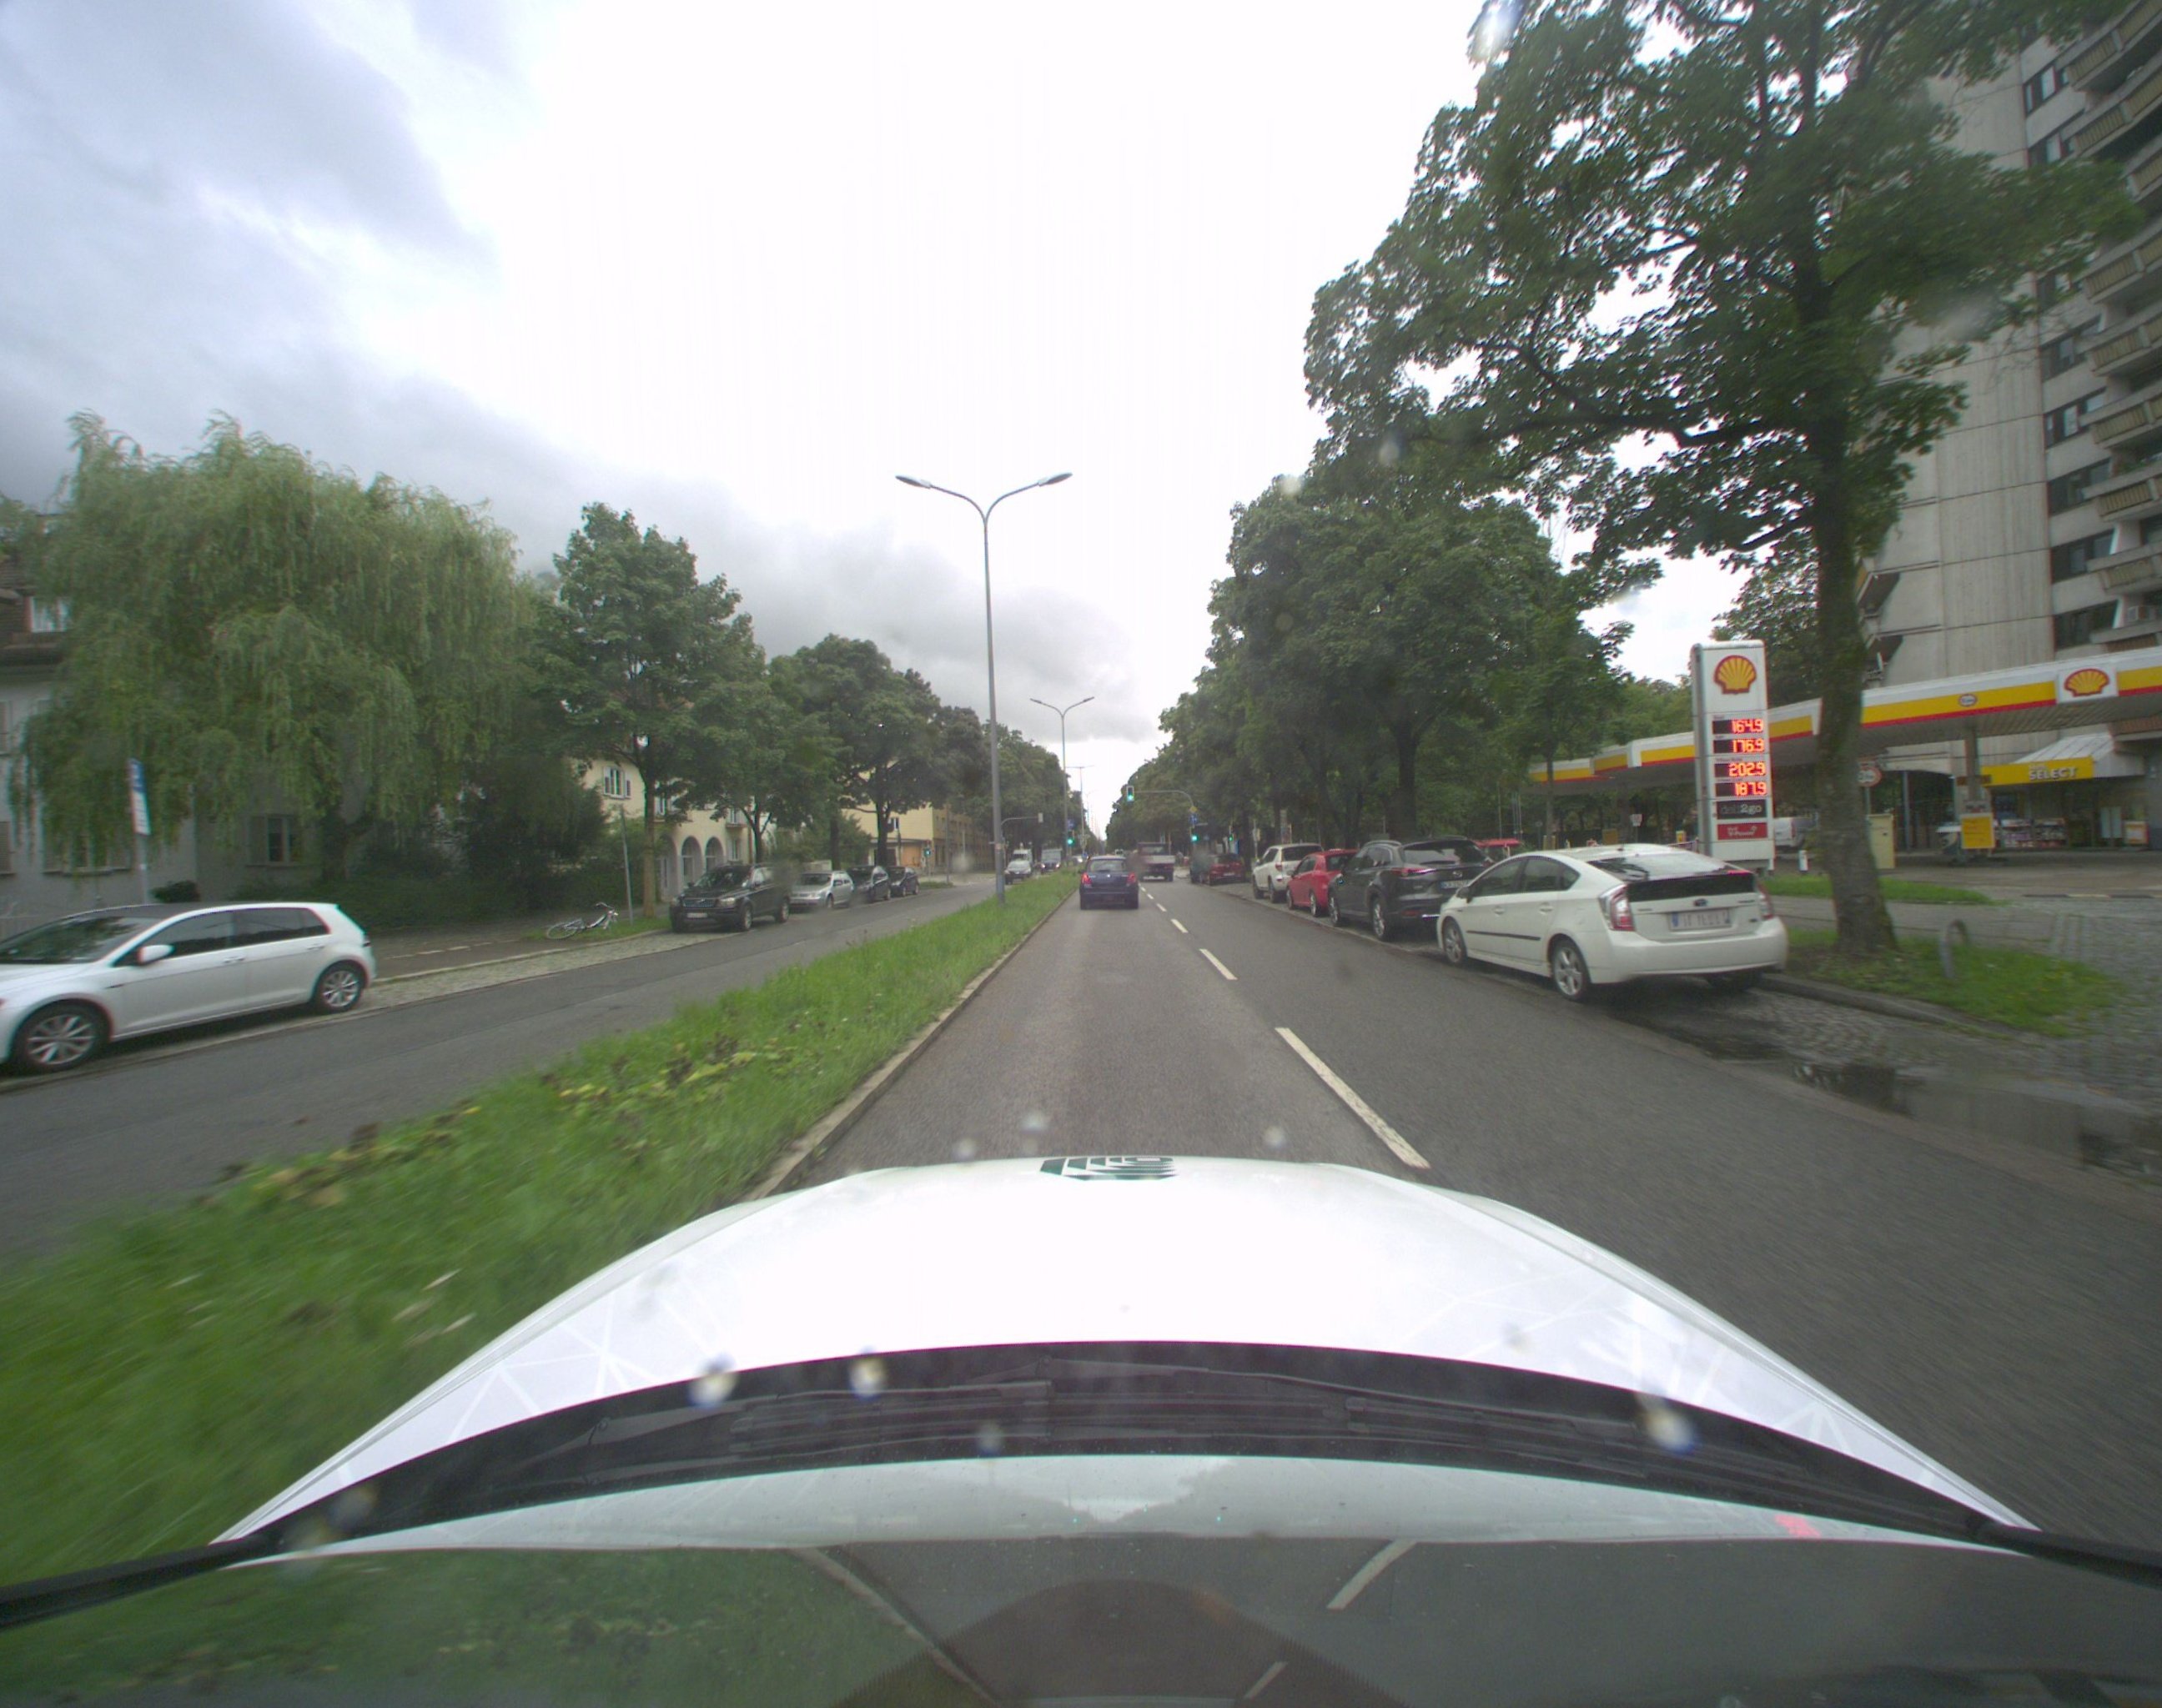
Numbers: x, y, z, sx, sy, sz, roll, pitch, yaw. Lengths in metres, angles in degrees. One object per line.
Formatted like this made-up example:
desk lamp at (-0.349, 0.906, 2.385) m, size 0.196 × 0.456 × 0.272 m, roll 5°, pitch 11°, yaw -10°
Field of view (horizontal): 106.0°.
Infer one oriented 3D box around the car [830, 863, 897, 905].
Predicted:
car at (-9.172, 1.230, 34.642) m, size 1.661 × 1.562 × 4.298 m, roll -2°, pitch 0°, yaw 0°

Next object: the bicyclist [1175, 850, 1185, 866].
bicyclist at (9.430, 0.358, 77.514) m, size 0.927 × 1.479 × 0.991 m, roll -1°, pitch 0°, yaw 3°

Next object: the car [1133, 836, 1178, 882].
car at (4.196, 0.255, 46.724) m, size 2.408 × 2.444 × 5.091 m, roll -1°, pitch 0°, yaw 3°

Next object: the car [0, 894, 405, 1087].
car at (-10.096, 1.281, 8.904) m, size 1.668 × 1.443 × 4.322 m, roll 0°, pitch 0°, yaw 2°

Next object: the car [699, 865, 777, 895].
car at (-19.206, 1.464, 45.726) m, size 3.622 × 1.462 × 1.671 m, roll -2°, pitch 0°, yaw -1°

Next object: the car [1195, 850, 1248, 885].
car at (6.705, 0.600, 39.164) m, size 1.706 × 1.424 × 4.283 m, roll -6°, pitch 0°, yaw 0°

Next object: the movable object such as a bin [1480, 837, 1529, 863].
movable object such as a bin at (26.099, -0.270, 50.287) m, size 2.053 × 1.486 × 1.838 m, roll -3°, pitch 0°, yaw 2°

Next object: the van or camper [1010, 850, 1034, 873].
van or camper at (-7.025, 0.879, 97.535) m, size 2.132 × 2.476 × 6.262 m, roll -3°, pitch 0°, yaw 2°

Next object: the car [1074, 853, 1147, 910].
car at (0.802, 0.757, 24.221) m, size 1.891 × 1.499 × 3.658 m, roll -3°, pitch 0°, yaw -1°

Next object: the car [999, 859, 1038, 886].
car at (-3.775, 1.078, 49.854) m, size 1.730 × 1.442 × 4.106 m, roll -3°, pitch 0°, yaw 3°

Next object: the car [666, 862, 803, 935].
car at (-9.498, 1.134, 22.826) m, size 1.791 × 1.763 × 5.054 m, roll 0°, pitch 0°, yaw -2°

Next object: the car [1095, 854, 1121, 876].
car at (2.014, 0.760, 59.926) m, size 1.792 × 1.499 × 3.662 m, roll -2°, pitch 0°, yaw 2°

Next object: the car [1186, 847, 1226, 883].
car at (6.685, 0.546, 43.942) m, size 1.754 × 1.658 × 4.290 m, roll -6°, pitch 0°, yaw 6°

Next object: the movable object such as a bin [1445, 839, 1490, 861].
movable object such as a bin at (23.879, -0.243, 50.333) m, size 2.052 × 1.263 × 1.532 m, roll -3°, pitch 0°, yaw 2°

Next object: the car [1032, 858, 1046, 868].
car at (-6.000, 1.294, 117.893) m, size 1.630 × 1.442 × 3.736 m, roll -3°, pitch 0°, yaw 2°

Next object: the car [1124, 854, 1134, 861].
car at (9.930, 0.699, 167.408) m, size 1.781 × 1.499 × 3.658 m, roll -1°, pitch 0°, yaw -1°

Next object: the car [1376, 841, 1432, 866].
car at (26.935, -0.079, 67.990) m, size 3.858 × 1.610 × 1.937 m, roll -6°, pitch 0°, yaw 8°

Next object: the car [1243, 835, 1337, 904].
car at (6.353, 0.428, 25.219) m, size 1.754 × 1.830 × 4.530 m, roll -4°, pitch 0°, yaw 2°

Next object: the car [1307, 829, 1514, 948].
car at (5.787, 0.525, 15.116) m, size 1.754 × 1.698 × 5.232 m, roll -4°, pitch 0°, yaw 2°

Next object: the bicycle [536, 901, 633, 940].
bicycle at (-11.943, 1.585, 19.648) m, size 1.446 × 0.829 × 1.404 m, roll -1°, pitch 0°, yaw 2°

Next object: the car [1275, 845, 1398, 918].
car at (6.171, 0.614, 20.168) m, size 1.754 × 1.506 × 4.145 m, roll -4°, pitch 0°, yaw 2°

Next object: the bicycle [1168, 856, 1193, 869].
bicycle at (9.453, 0.800, 77.511) m, size 2.288 × 1.114 × 0.997 m, roll -1°, pitch 0°, yaw 3°

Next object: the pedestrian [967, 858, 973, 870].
pedestrian at (-13.883, 1.215, 102.053) m, size 0.626 × 1.440 × 0.806 m, roll -1°, pitch -1°, yaw 2°

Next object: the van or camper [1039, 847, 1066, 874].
van or camper at (-2.565, 0.553, 75.085) m, size 2.016 × 2.260 × 6.023 m, roll -3°, pitch 0°, yaw 1°

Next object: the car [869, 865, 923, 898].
car at (-9.069, 1.328, 40.197) m, size 1.557 × 1.450 × 3.841 m, roll 0°, pitch 0°, yaw 4°

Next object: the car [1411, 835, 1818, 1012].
car at (5.675, 0.616, 9.551) m, size 1.754 × 1.453 × 4.634 m, roll -4°, pitch 0°, yaw 2°

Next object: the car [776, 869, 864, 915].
car at (-9.358, 1.326, 29.614) m, size 1.660 × 1.445 × 4.377 m, roll 0°, pitch 0°, yaw 2°
